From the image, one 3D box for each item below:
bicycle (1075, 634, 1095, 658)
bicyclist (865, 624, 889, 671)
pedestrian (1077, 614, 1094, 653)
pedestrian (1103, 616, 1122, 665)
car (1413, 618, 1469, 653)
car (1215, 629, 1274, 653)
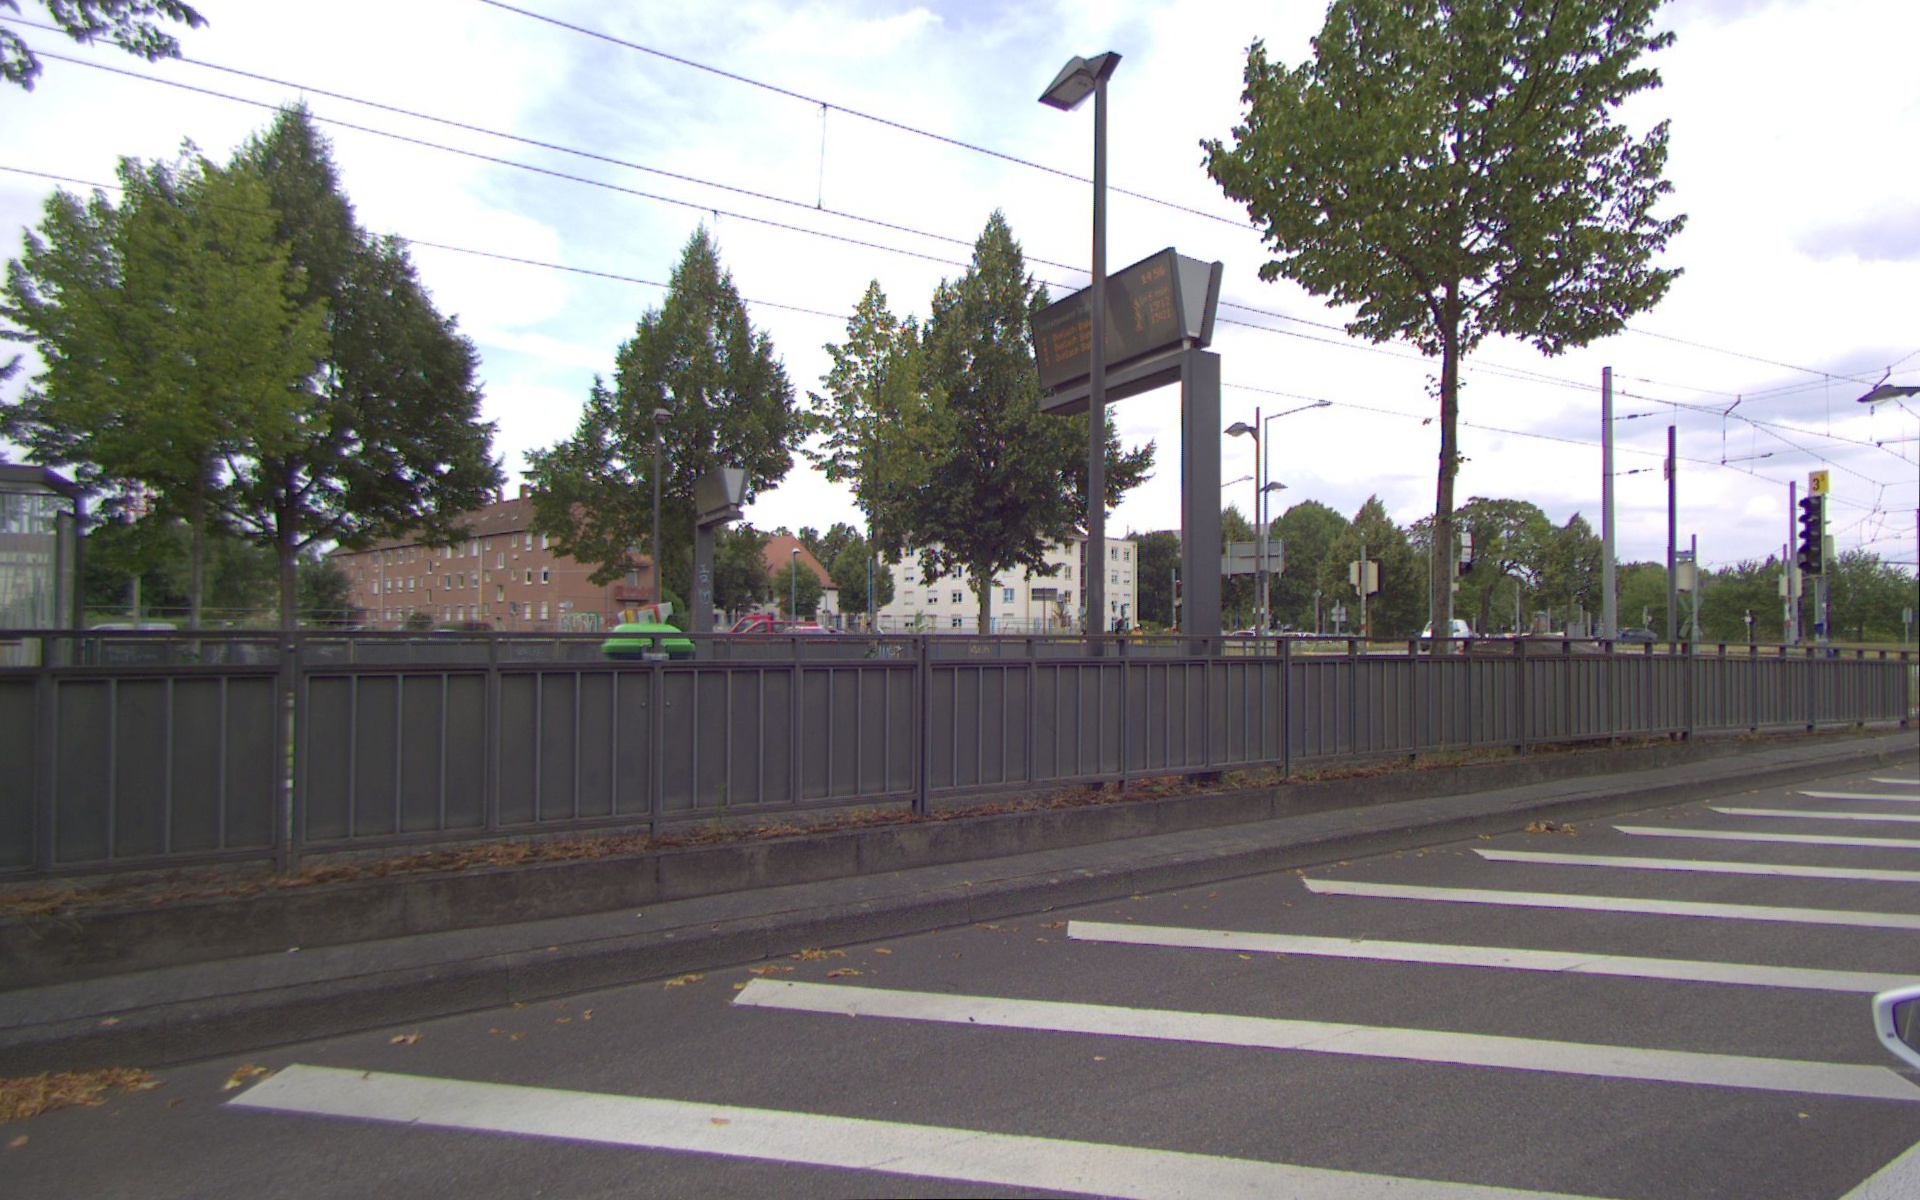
[{"bbox_3d":[6.534,2.387,52.318,0.600,1.151,2.566,2,0,16],"label":"bicycle"},{"bbox_3d":[-3.298,1.876,39.948,0.771,1.859,0.828,0,-1,-18],"label":"bicyclist"},{"bbox_3d":[6.546,1.746,52.299,0.783,2.040,0.910,0,-1,16],"label":"pedestrian"},{"bbox_3d":[5.812,1.534,38.287,0.636,1.874,0.492,0,-1,17],"label":"pedestrian"},{"bbox_3d":[29.331,2.144,61.133,1.970,2.040,4.977,-1,-1,39],"label":"car"},{"bbox_3d":[21.923,3.149,77.496,3.920,1.663,2.000,2,1,2],"label":"car"}]
